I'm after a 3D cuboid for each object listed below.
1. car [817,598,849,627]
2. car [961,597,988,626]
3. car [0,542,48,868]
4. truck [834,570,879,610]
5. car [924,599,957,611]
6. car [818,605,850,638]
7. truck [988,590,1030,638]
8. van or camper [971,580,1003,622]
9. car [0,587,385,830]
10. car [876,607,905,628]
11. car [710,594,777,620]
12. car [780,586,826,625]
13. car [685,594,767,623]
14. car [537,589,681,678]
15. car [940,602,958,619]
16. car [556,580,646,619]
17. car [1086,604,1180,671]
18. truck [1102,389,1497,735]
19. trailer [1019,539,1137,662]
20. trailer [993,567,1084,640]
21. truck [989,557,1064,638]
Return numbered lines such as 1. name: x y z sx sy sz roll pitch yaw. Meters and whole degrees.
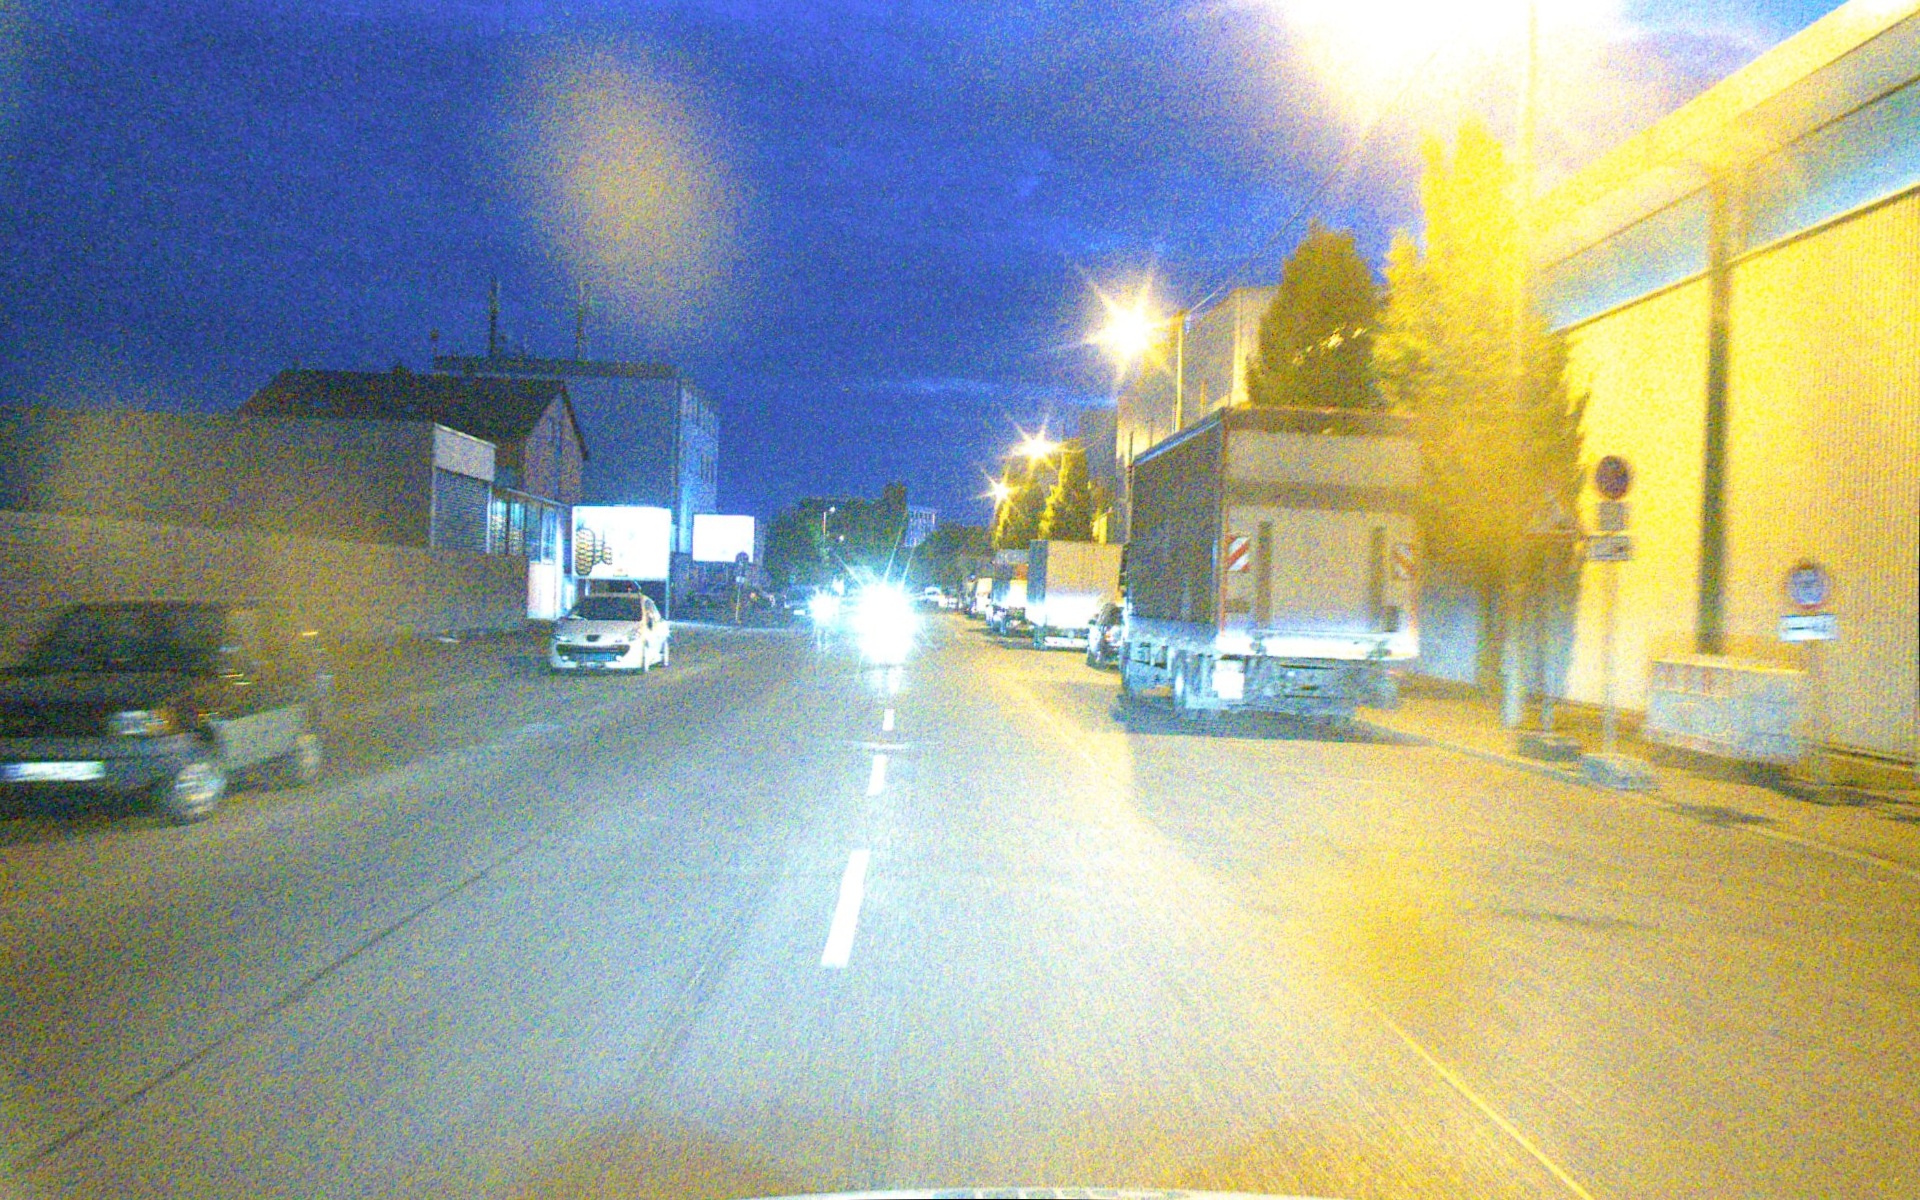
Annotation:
1. car: -8.314 0.817 108.580 1.859 1.766 4.354 2 0 -2
2. car: 1.152 0.914 130.675 1.953 2.183 3.999 2 0 -1
3. car: -5.770 0.472 6.370 1.954 1.665 4.771 2 -1 -2
4. truck: -10.074 -0.927 159.976 3.816 3.685 8.248 2 0 -6
5. car: -2.655 0.733 225.494 4.437 1.404 2.000 2 -1 2
6. car: -7.158 1.223 94.264 1.645 1.766 4.353 2 0 -3
7. truck: 2.590 0.740 88.573 1.953 2.449 5.291 2 0 -1
8. van or camper: 1.764 0.077 110.297 1.953 2.627 4.914 2 0 0
9. car: -5.538 0.638 11.720 1.569 1.378 3.999 2 0 -2
10. car: -5.166 1.293 123.273 1.953 1.422 3.999 2 0 -1
11. car: -14.087 0.439 107.589 3.940 1.623 1.982 1 -1 -28
12. car: -7.842 0.283 82.965 1.953 1.825 3.999 2 0 -1
13. car: -14.040 0.507 99.251 4.552 1.511 1.985 2 0 -24
14. car: -6.343 0.580 30.303 1.804 1.445 3.999 2 0 -1
15. car: -1.207 1.139 180.982 1.953 1.713 3.999 2 0 -1
16. car: -17.262 -0.020 79.592 3.908 1.680 1.998 2 0 -4
17. car: 4.138 0.889 40.061 1.815 1.546 3.817 1 -1 -1
18. truck: 4.483 -0.377 24.763 3.450 4.053 10.337 1 -1 -2
19. trailer: 3.641 0.054 52.969 2.633 3.525 7.803 2 -1 -4
20. trailer: 3.144 0.212 69.281 3.120 2.797 10.711 1 -1 -1
21. truck: 2.997 -0.064 76.423 3.087 3.524 6.671 1 -1 -1
